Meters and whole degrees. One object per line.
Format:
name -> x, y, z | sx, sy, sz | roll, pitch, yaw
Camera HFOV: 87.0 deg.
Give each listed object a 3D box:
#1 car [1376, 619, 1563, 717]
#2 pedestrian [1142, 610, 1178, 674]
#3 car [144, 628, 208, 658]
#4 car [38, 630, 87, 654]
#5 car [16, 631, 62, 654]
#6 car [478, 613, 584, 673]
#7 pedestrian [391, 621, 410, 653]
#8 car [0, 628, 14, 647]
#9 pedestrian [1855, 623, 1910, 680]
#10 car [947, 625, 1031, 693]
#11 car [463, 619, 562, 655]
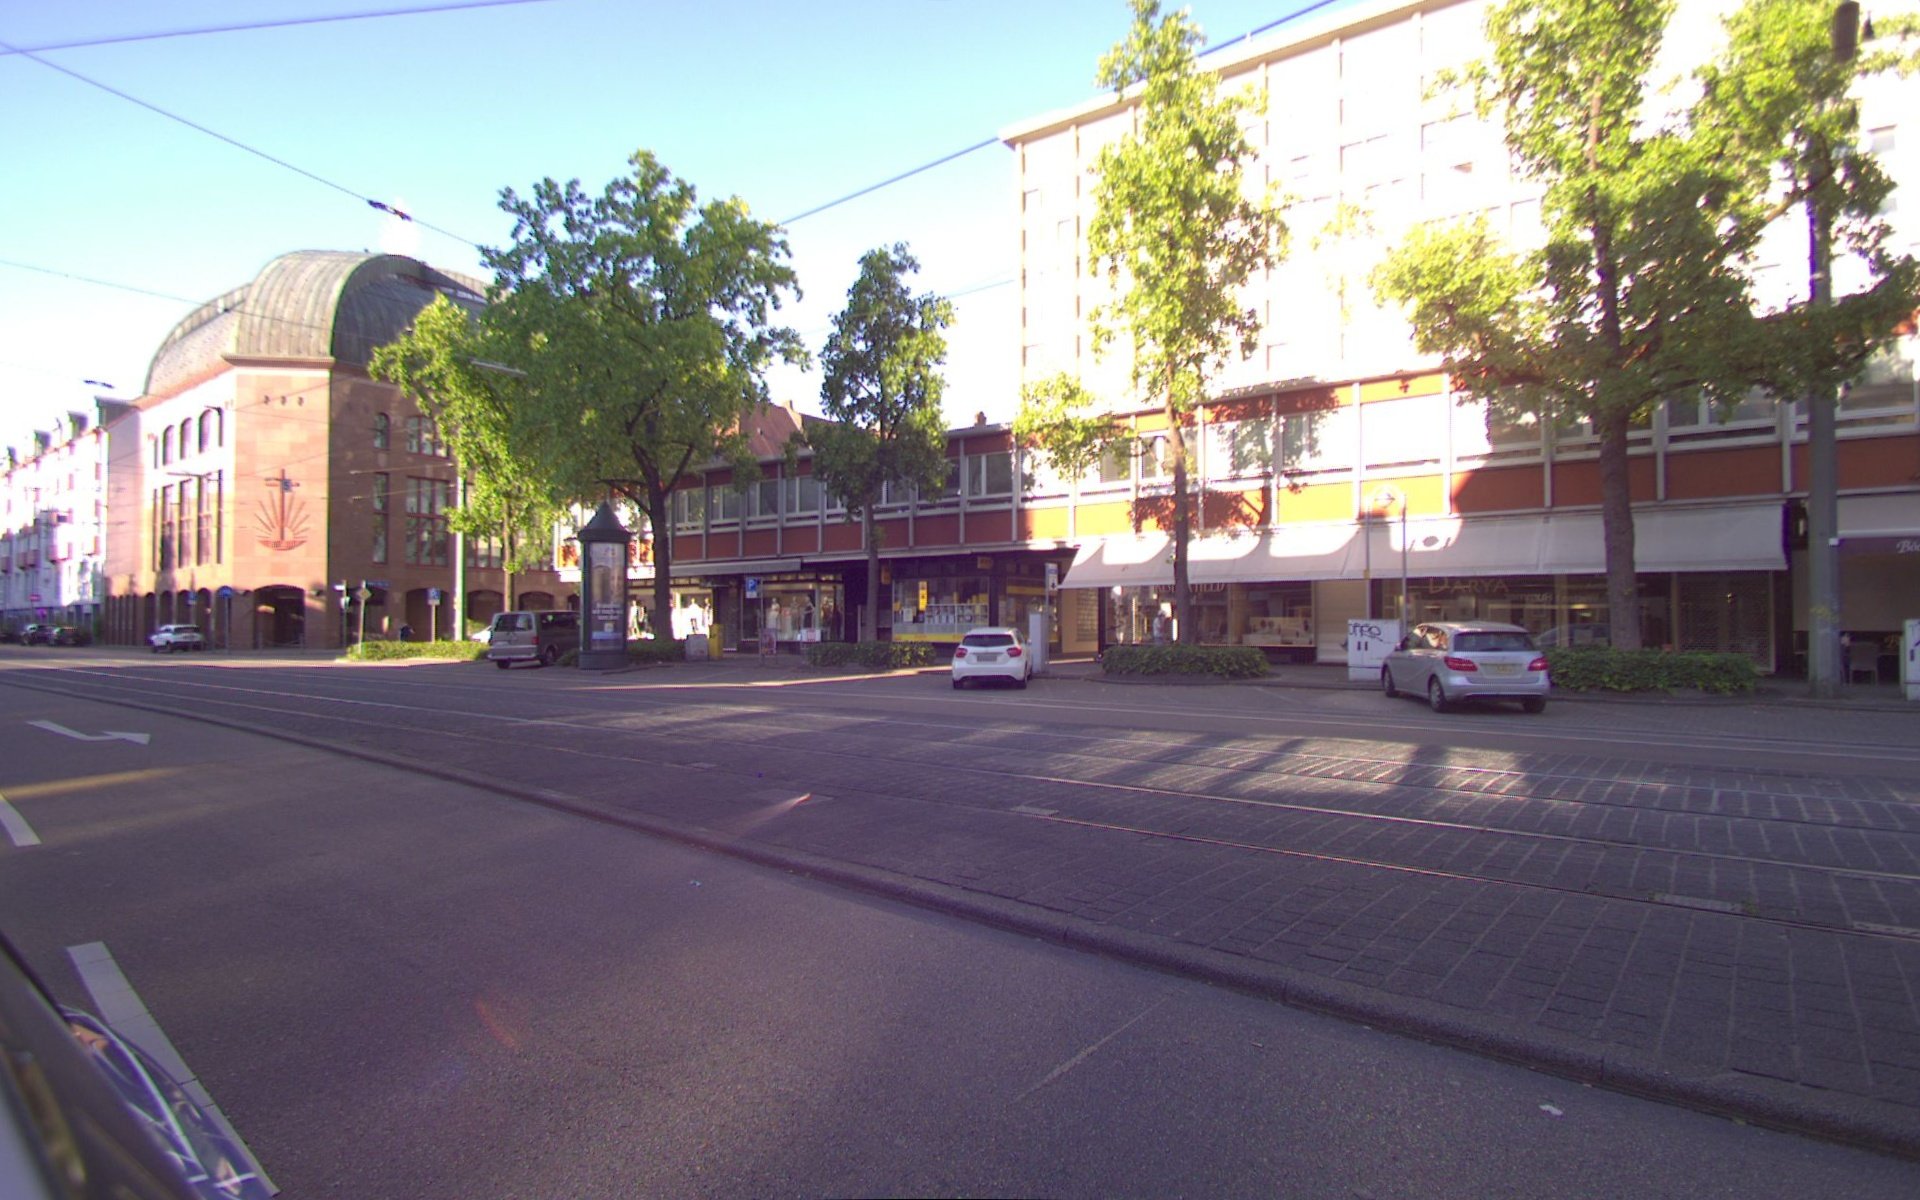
car -> 9.238, 1.161, 18.728 | 1.776, 1.566, 3.992 | -1, -1, 6
pedestrian -> 5.729, 1.184, 28.964 | 0.626, 1.782, 0.770 | 1, -1, -36
car -> -45.190, 2.433, 58.333 | 3.992, 1.615, 1.888 | -1, -1, 36
car -> -66.502, 3.084, 74.958 | 3.992, 1.615, 1.942 | -1, -1, 36
car -> -71.682, 3.283, 78.758 | 3.992, 1.615, 1.942 | -1, -1, 36
car -> -14.985, 1.458, 35.597 | 1.886, 1.979, 3.996 | -1, -1, 3
pedestrian -> -30.534, 2.005, 55.222 | 0.548, 1.761, 0.780 | -2, -3, 41
car -> -86.405, 3.342, 90.514 | 3.992, 1.615, 1.942 | -1, -1, 36
pedestrian -> 19.504, 1.078, 21.411 | 0.726, 1.181, 0.770 | -1, -2, 35
car -> 0.801, 1.406, 25.276 | 1.776, 1.486, 3.992 | -1, -1, 6
car -> -25.870, 2.139, 58.675 | 1.996, 2.029, 4.926 | -1, -2, 36
